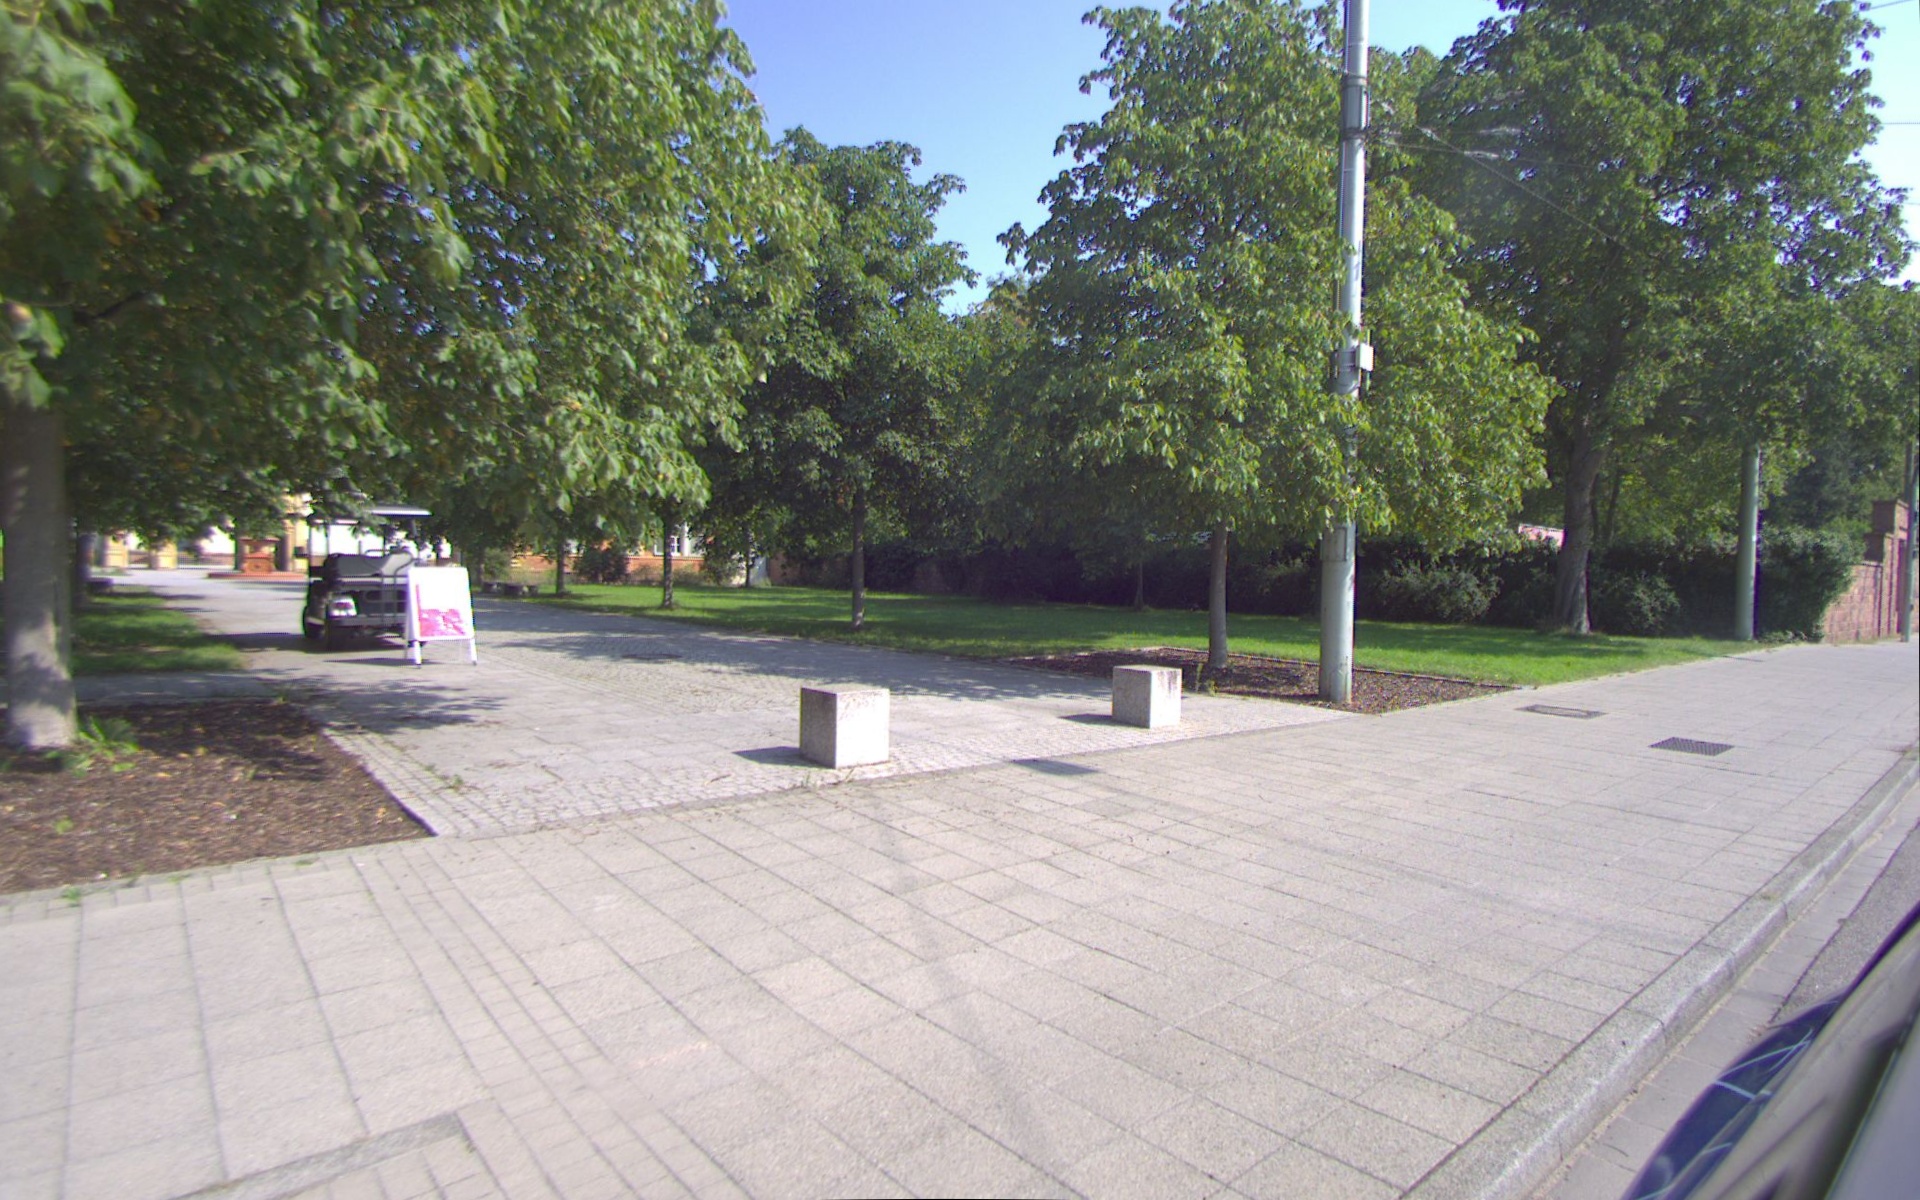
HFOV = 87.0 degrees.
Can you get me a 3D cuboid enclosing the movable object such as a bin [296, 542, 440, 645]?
[{"bbox_3d":[-8.613,-0.158,14.626,1.278,1.314,3.112,0,3,-40],"label":"movable object such as a bin"}]
